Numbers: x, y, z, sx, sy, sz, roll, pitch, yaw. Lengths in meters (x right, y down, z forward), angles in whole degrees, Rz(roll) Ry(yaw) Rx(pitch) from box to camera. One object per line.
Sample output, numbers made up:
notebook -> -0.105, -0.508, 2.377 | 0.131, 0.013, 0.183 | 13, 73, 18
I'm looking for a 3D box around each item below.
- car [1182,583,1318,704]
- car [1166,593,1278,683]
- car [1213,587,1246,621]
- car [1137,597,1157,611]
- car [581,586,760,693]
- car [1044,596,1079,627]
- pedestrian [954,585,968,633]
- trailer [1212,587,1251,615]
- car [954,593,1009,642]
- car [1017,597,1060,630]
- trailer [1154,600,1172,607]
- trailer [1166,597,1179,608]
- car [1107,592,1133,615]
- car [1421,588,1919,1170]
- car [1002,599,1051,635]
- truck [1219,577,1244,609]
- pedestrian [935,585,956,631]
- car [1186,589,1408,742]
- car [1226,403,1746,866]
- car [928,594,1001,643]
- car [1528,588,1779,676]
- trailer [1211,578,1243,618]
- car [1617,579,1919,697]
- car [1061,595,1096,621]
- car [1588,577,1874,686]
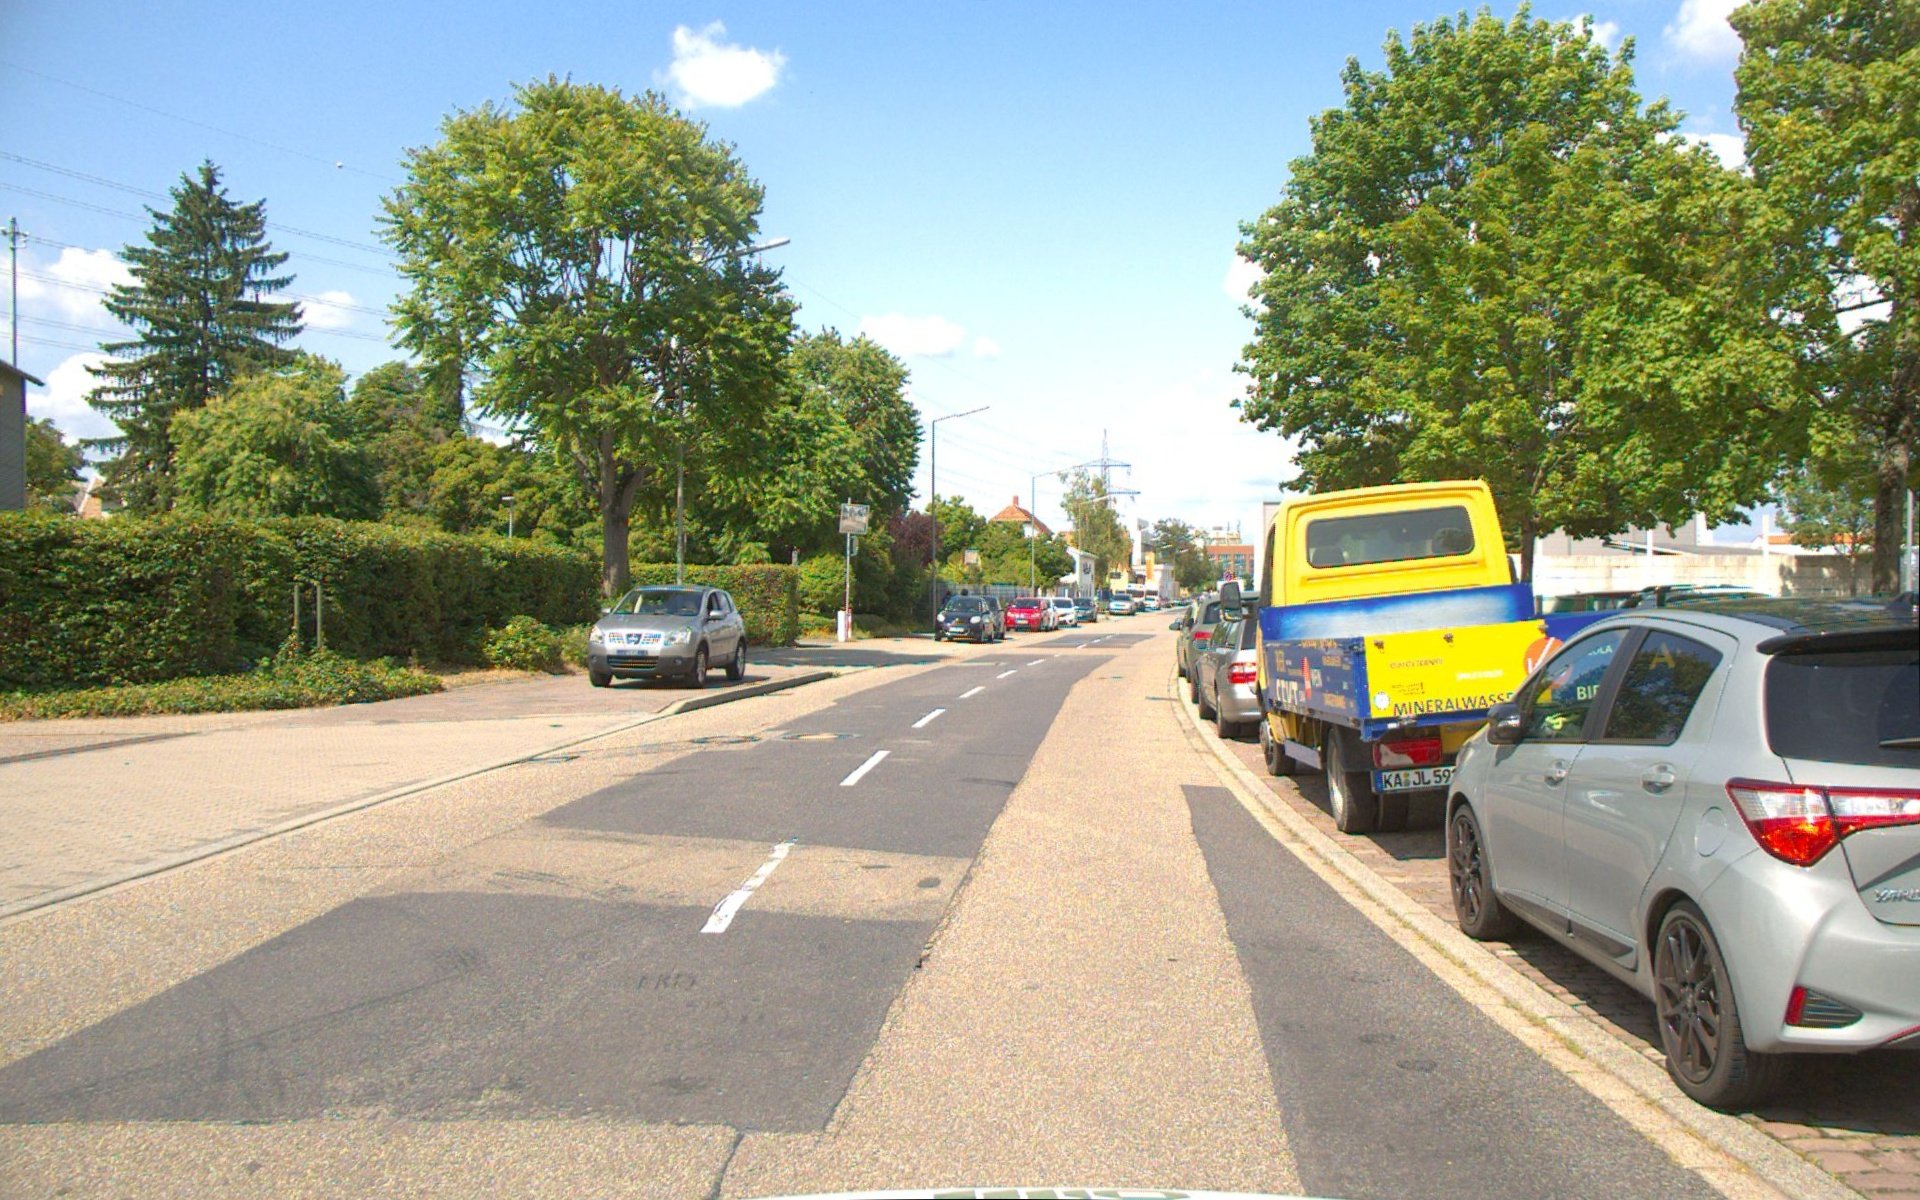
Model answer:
car -> 4.467, 0.631, 26.020 | 1.794, 1.636, 4.572 | -4, -1, 7
car -> 4.950, 0.690, 31.625 | 1.664, 1.512, 3.809 | -4, -1, 3
car -> 16.970, 0.236, 104.119 | 1.951, 2.049, 5.654 | -1, 0, 9
car -> 20.043, 0.405, 177.268 | 1.758, 1.422, 4.505 | 1, 0, 11
car -> -4.643, 0.606, 27.188 | 1.720, 1.601, 4.480 | 1, 0, 6
car -> 5.357, 0.586, 86.892 | 1.586, 1.549, 4.178 | 0, 0, 6
pedestrian -> 0.035, 0.366, 66.856 | 0.441, 1.927, 0.678 | 0, -1, 9
trailer -> 15.372, 0.097, 93.863 | 1.712, 1.442, 4.552 | -3, -1, 4
car -> 0.819, 0.620, 61.305 | 1.615, 1.674, 3.276 | 3, 0, 7
car -> 3.702, 0.624, 77.915 | 1.610, 1.503, 4.032 | 0, 0, 9
trailer -> 28.732, 0.486, 234.298 | 2.312, 0.908, 5.573 | 2, 0, 9
trailer -> 32.760, 0.375, 254.957 | 1.951, 1.584, 4.257 | 0, 0, 9
car -> 13.113, 0.282, 135.440 | 1.752, 1.749, 4.755 | 2, 0, 9
car -> 3.101, 0.733, 6.332 | 1.650, 1.521, 3.949 | -2, 0, 2
car -> 2.976, 0.757, 73.238 | 1.631, 1.492, 3.747 | 1, 0, 10
truck -> 30.278, -0.762, 184.628 | 2.406, 3.350, 6.823 | -5, -1, 10
pedestrian -> -0.579, 0.334, 66.642 | 0.693, 1.832, 0.916 | 0, -1, 9
car -> 3.862, 0.698, 19.848 | 1.836, 1.503, 5.170 | -3, 0, 3
car -> 3.439, 0.213, 12.481 | 2.112, 2.508, 6.642 | -1, 0, 3
car -> 0.199, 0.617, 56.578 | 1.806, 1.534, 4.003 | 3, 0, 9
car -> 13.316, 0.614, 31.988 | 4.119, 1.621, 1.911 | -1, -1, 9
trailer -> 19.810, -0.122, 123.010 | 2.157, 2.785, 6.227 | -3, -1, 9
car -> 11.813, 0.552, 24.146 | 3.792, 1.621, 1.911 | -1, -1, 9
car -> 7.078, 0.473, 98.442 | 1.767, 1.443, 4.500 | 2, 0, 8
car -> 12.350, 0.503, 26.720 | 3.792, 1.666, 1.911 | -1, -1, 9
